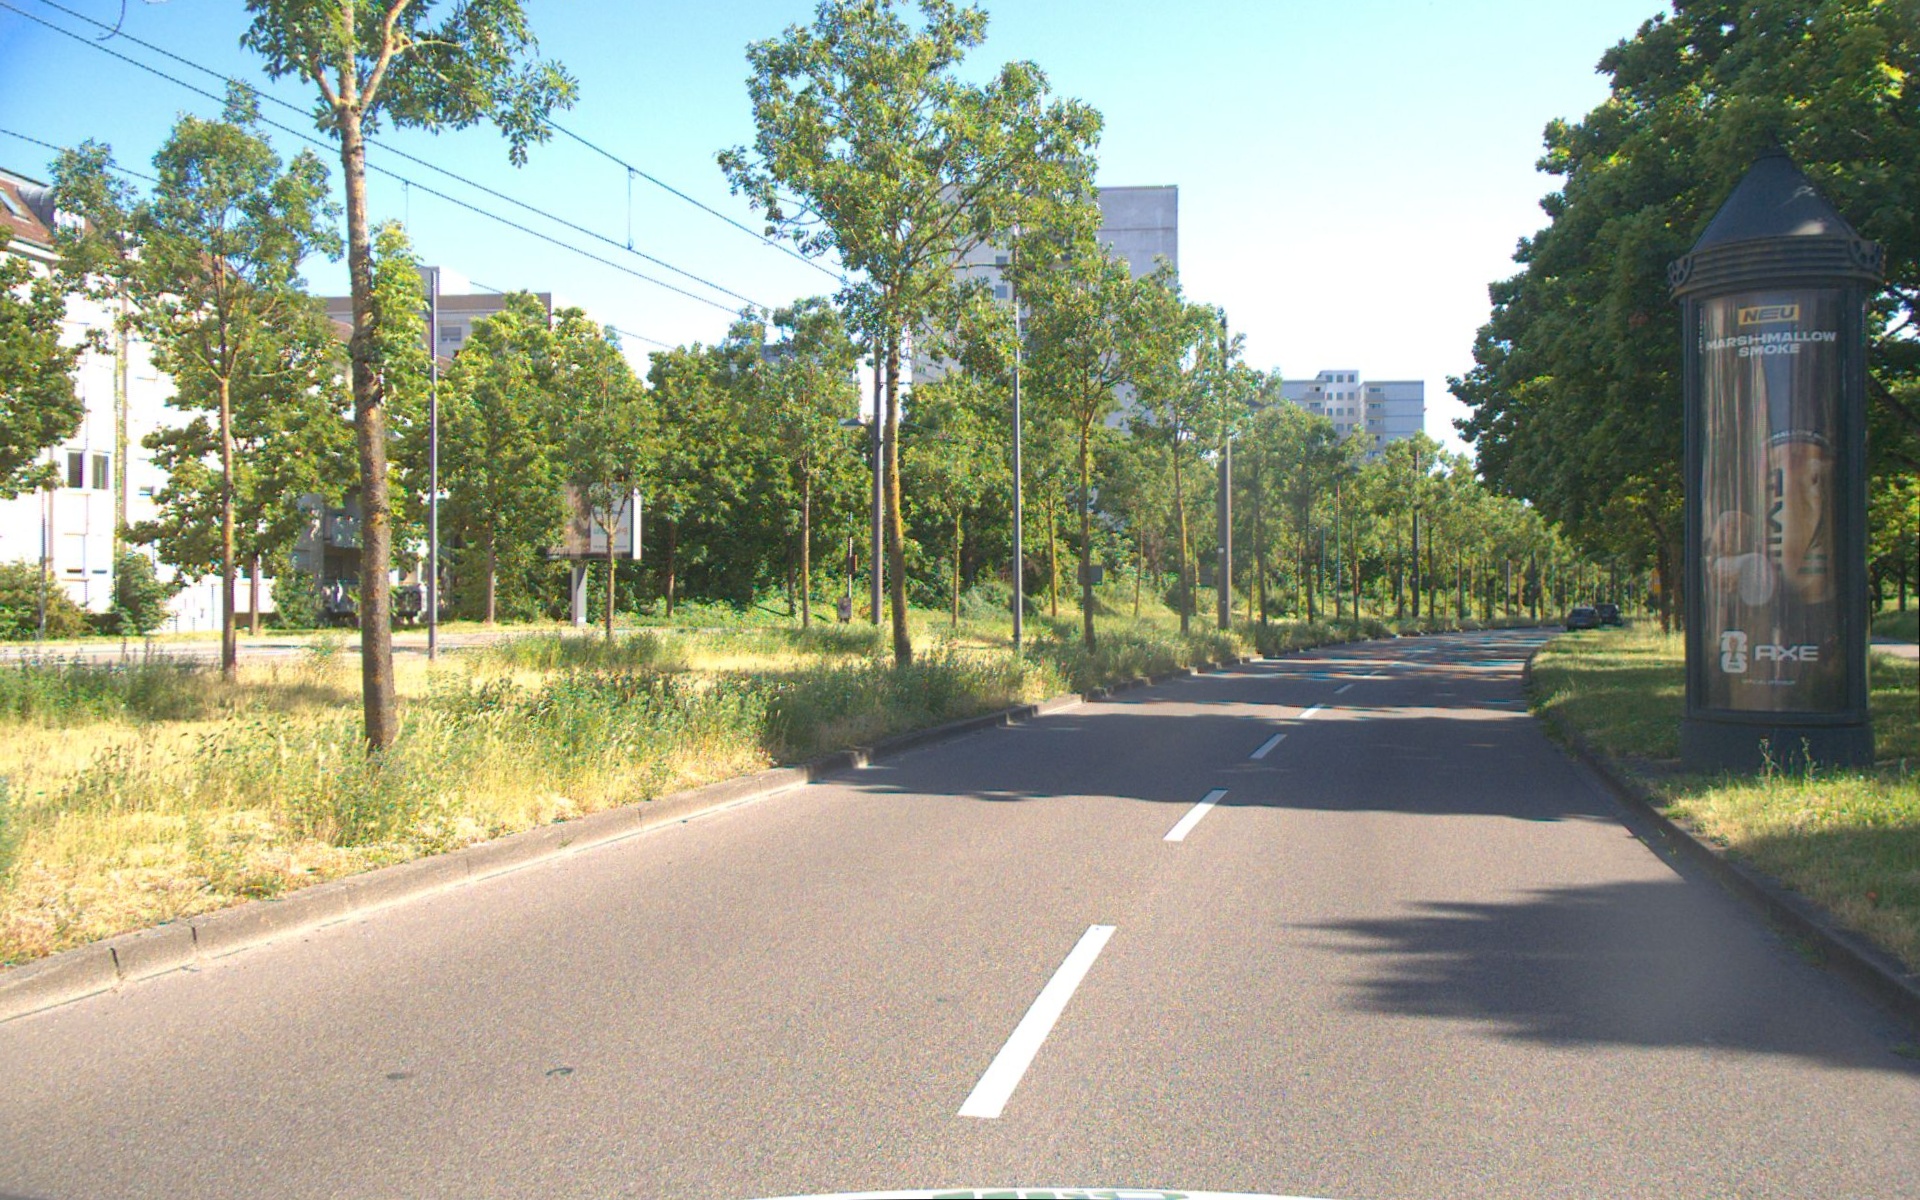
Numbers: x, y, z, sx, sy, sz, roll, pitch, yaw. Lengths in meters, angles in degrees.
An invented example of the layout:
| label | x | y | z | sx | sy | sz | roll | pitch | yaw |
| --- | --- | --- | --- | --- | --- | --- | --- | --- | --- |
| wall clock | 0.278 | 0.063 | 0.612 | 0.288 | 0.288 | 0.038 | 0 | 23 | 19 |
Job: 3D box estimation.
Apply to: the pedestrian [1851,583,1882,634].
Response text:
| label | x | y | z | sx | sy | sz | roll | pitch | yaw |
| --- | --- | --- | --- | --- | --- | --- | --- | --- | --- |
| pedestrian | 31.439 | 0.295 | 57.366 | 0.721 | 1.757 | 0.890 | 0 | 0 | 11 |

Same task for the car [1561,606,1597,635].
| label | x | y | z | sx | sy | sz | roll | pitch | yaw |
| --- | --- | --- | --- | --- | --- | --- | --- | --- | --- |
| car | 37.564 | 1.259 | 100.299 | 1.655 | 1.605 | 3.867 | -1 | -3 | 26 |
